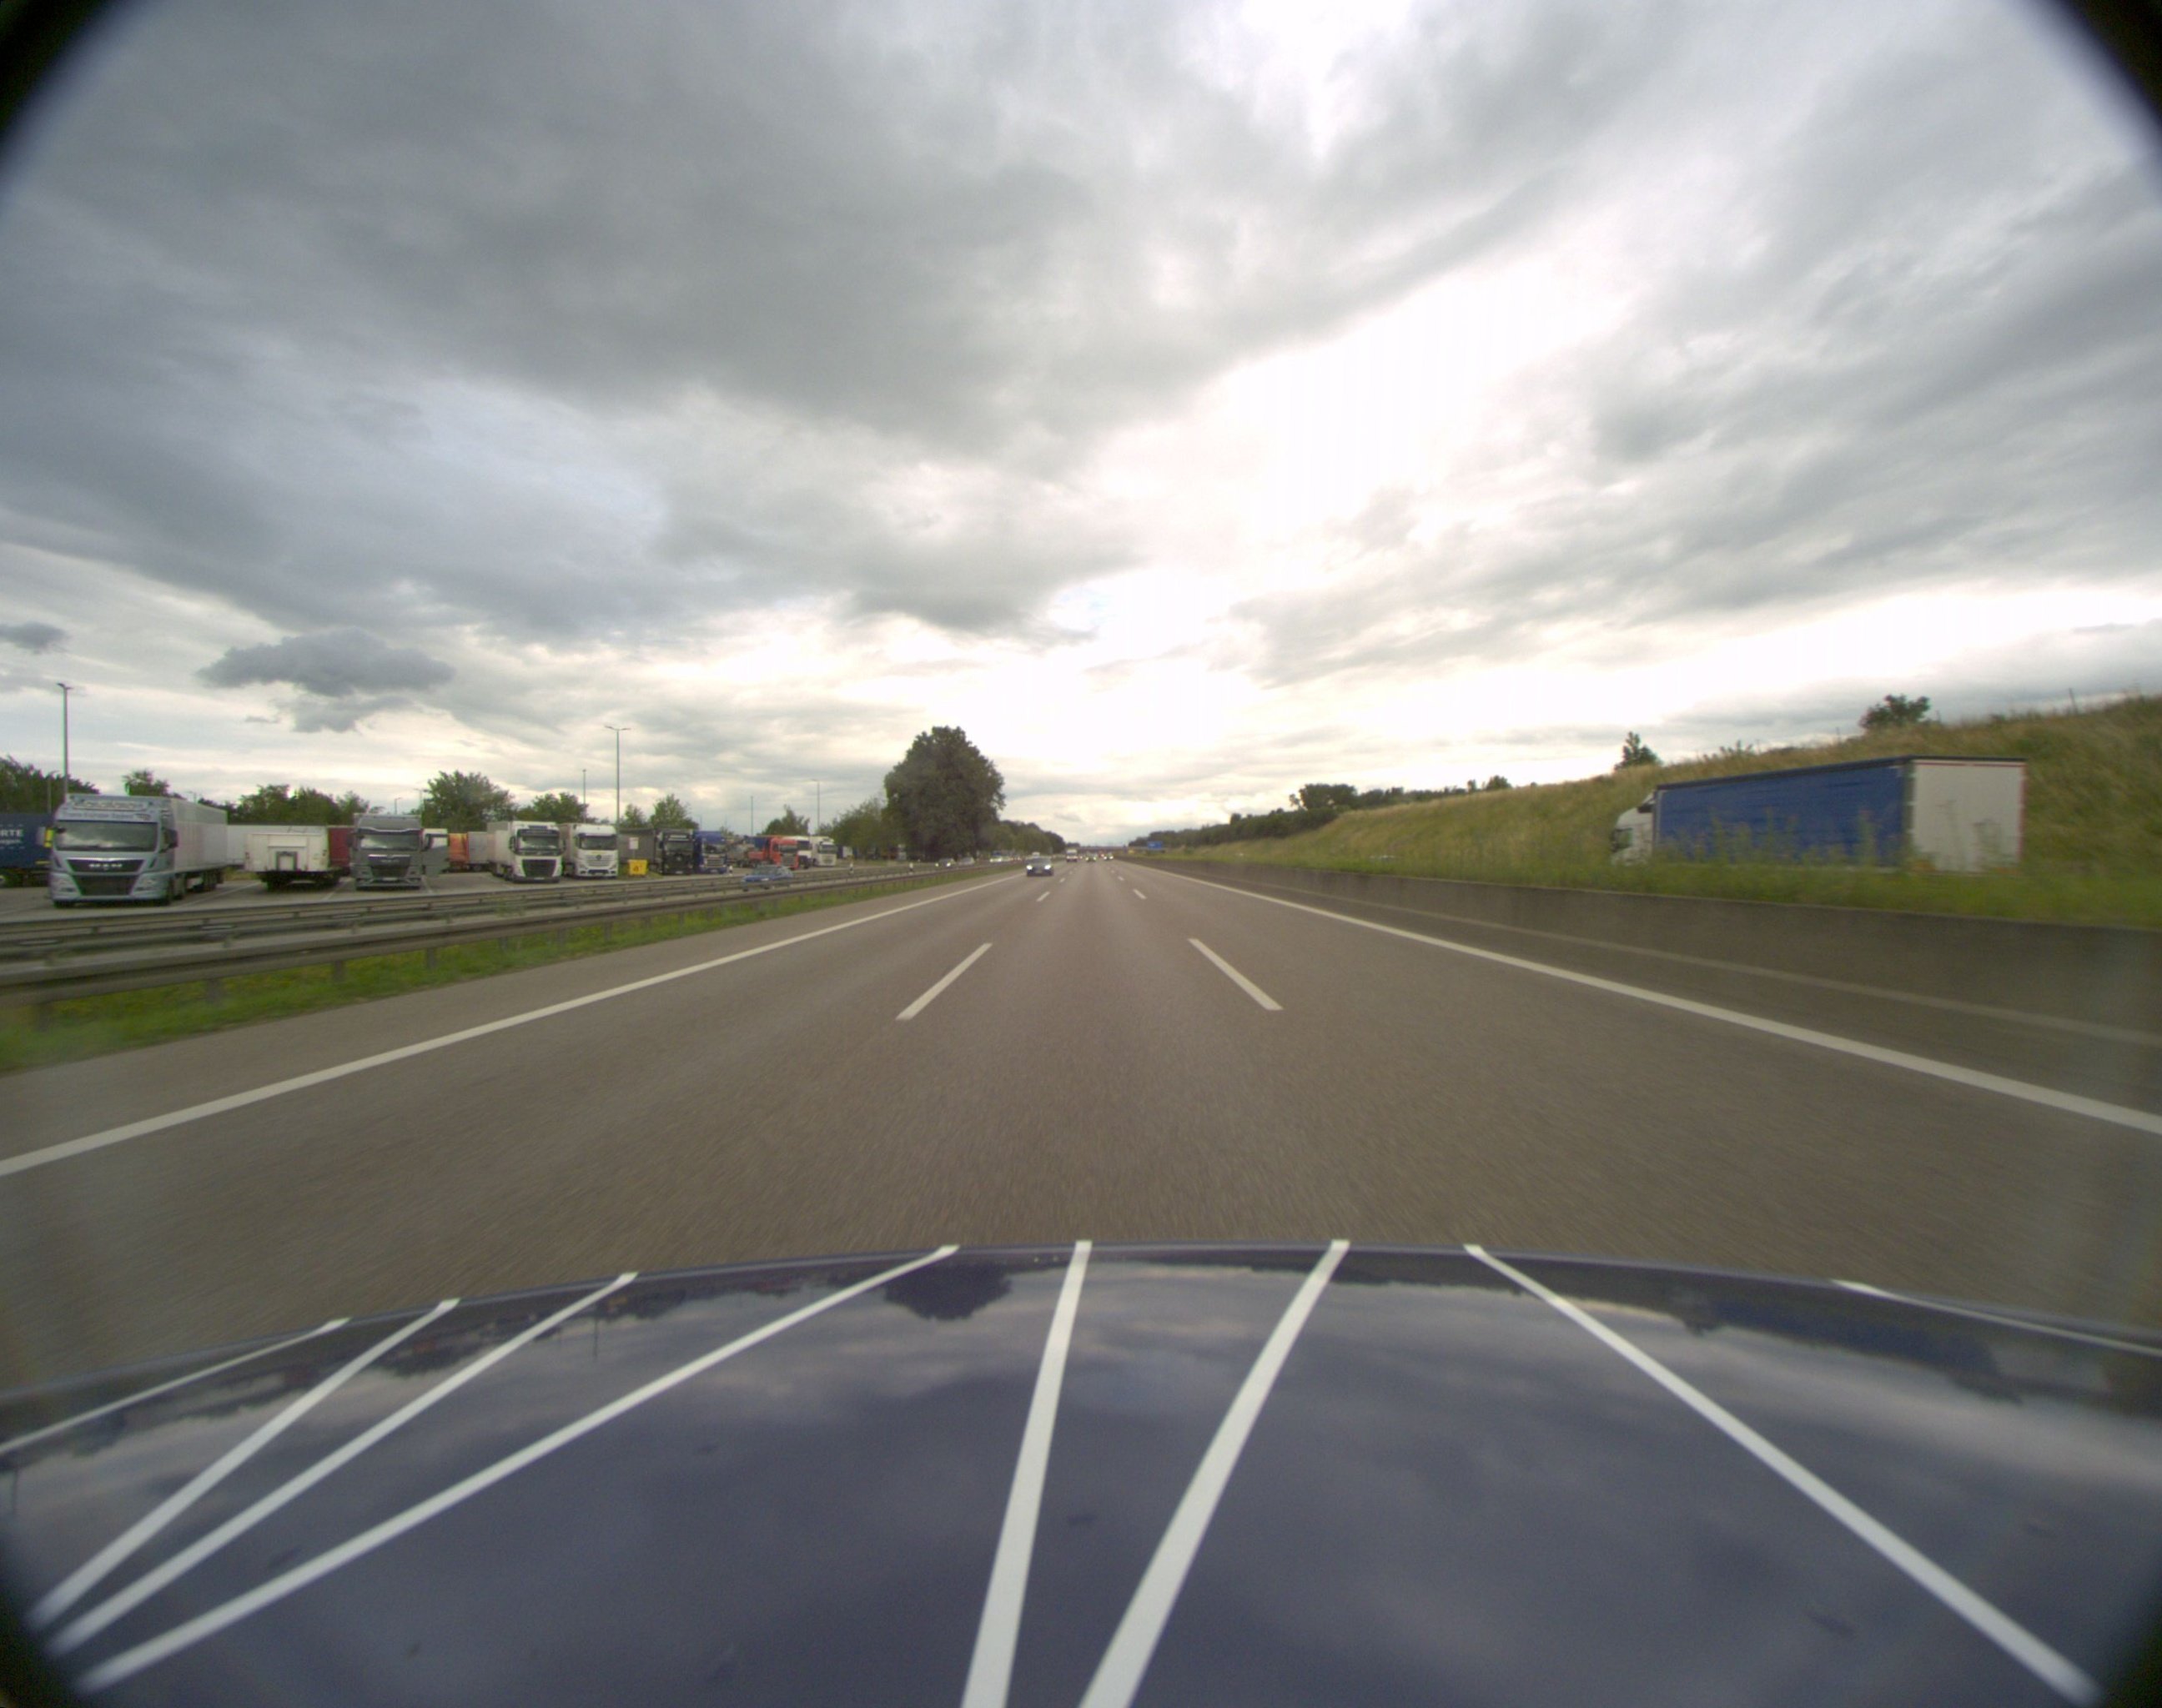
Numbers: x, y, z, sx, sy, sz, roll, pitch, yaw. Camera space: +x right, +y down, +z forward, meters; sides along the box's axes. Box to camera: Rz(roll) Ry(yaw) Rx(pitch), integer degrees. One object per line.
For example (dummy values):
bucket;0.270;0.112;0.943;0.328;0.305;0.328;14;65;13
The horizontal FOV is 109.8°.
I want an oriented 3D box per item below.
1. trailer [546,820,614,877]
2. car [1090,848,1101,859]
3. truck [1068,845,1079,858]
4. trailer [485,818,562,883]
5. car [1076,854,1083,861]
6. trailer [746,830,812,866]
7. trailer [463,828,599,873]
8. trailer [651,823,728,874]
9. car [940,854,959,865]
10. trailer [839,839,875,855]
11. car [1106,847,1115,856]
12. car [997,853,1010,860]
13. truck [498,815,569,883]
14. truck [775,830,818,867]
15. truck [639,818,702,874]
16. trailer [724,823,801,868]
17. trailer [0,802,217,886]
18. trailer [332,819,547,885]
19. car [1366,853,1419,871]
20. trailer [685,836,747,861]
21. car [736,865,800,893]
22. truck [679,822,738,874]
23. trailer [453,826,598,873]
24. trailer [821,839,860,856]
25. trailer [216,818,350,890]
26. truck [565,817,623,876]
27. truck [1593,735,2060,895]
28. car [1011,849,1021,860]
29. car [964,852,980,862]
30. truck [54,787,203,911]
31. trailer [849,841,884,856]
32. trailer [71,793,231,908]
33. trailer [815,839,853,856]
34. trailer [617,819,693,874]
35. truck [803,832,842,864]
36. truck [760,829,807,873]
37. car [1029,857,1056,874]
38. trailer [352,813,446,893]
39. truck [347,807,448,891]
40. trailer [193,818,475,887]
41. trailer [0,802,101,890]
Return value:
trailer;-40.207;-0.337;60.690;2.656;4.070;13.764;-4;1;-40
car;2.779;-0.103;143.876;1.998;2.002;4.000;0;1;1
truck;-1.558;-0.565;153.445;1.998;2.483;5.869;-3;1;1
trailer;-40.509;-0.142;54.848;2.860;4.081;15.847;-4;1;-41
car;-0.360;0.955;228.312;1.998;2.002;3.999;-3;1;1
trailer;-37.977;-0.674;95.124;2.668;4.089;14.030;-4;1;-43
trailer;-56.158;-0.426;77.967;2.914;4.098;10.820;-1;1;43
trailer;-38.751;-0.435;74.776;3.069;4.553;13.620;-4;1;-43
car;-15.273;0.621;88.517;1.465;1.208;4.000;-1;1;1
trailer;-52.817;-1.721;179.303;2.914;3.438;7.603;-1;1;45
car;6.745;-0.595;173.877;1.998;2.002;4.000;0;1;1
car;-13.688;0.427;134.082;1.828;1.236;3.878;-1;1;1
truck;-35.567;-0.275;49.267;2.891;4.111;6.953;-4;1;-41
truck;-34.091;-0.599;90.904;2.674;4.125;5.914;-4;1;-42
truck;-35.097;-0.619;64.892;3.174;4.531;6.069;-4;1;-42
trailer;-37.402;-0.836;88.670;2.869;4.651;15.768;-4;1;-43
trailer;-60.902;-0.541;43.502;14.683;4.616;3.151;-3;1;-44
trailer;-54.850;-0.330;65.516;13.578;4.983;5.233;-3;1;-44
car;17.143;0.405;41.959;1.529;0.856;3.346;-3;1;1
trailer;-57.379;-0.858;119.615;2.914;3.594;8.049;-1;1;43
car;-16.496;1.291;40.249;1.796;1.251;3.545;-3;1;1
truck;-34.390;-0.544;70.032;3.066;4.531;6.069;-4;1;-43
trailer;-53.368;-0.513;73.395;2.914;4.098;10.820;-1;1;43
trailer;-53.377;-1.558;168.933;2.914;3.438;7.603;-1;1;45
trailer;-40.393;0.088;38.978;3.602;3.093;13.710;-3;1;-42
truck;-35.079;-0.531;54.653;2.701;4.032;4.785;-4;1;-40
truck;20.533;-0.919;22.658;3.267;3.582;10.934;-1;1;1
car;-12.531;0.010;146.611;1.606;2.002;4.000;-3;1;1
car;-14.112;0.382;98.895;1.413;1.299;4.000;-1;1;1
truck;-34.534;-0.172;27.754;2.646;4.108;4.782;-4;2;-45
trailer;-52.265;-1.334;184.880;2.914;3.438;7.603;-1;1;45
trailer;-39.676;-0.011;32.954;2.663;4.061;14.656;-4;1;-45
trailer;-55.581;-1.489;171.096;2.914;3.438;7.603;-1;1;45
trailer;-38.996;-0.520;69.251;3.170;4.565;12.377;-4;1;-42
truck;-35.002;-0.816;102.876;2.831;4.037;6.432;-3;1;-38
truck;-32.790;-0.276;83.627;2.883;4.598;5.158;-4;2;-43
car;-2.852;0.811;56.833;1.781;1.180;4.000;-1;1;1
trailer;-41.571;0.056;46.298;3.536;4.111;15.536;-4;1;-42
truck;-36.578;-0.252;40.754;3.554;4.061;7.634;-4;1;-42
trailer;-55.644;-0.316;57.584;14.683;4.616;3.151;-3;1;-44
trailer;-60.980;-0.197;37.451;15.078;4.616;2.866;-3;1;-44
